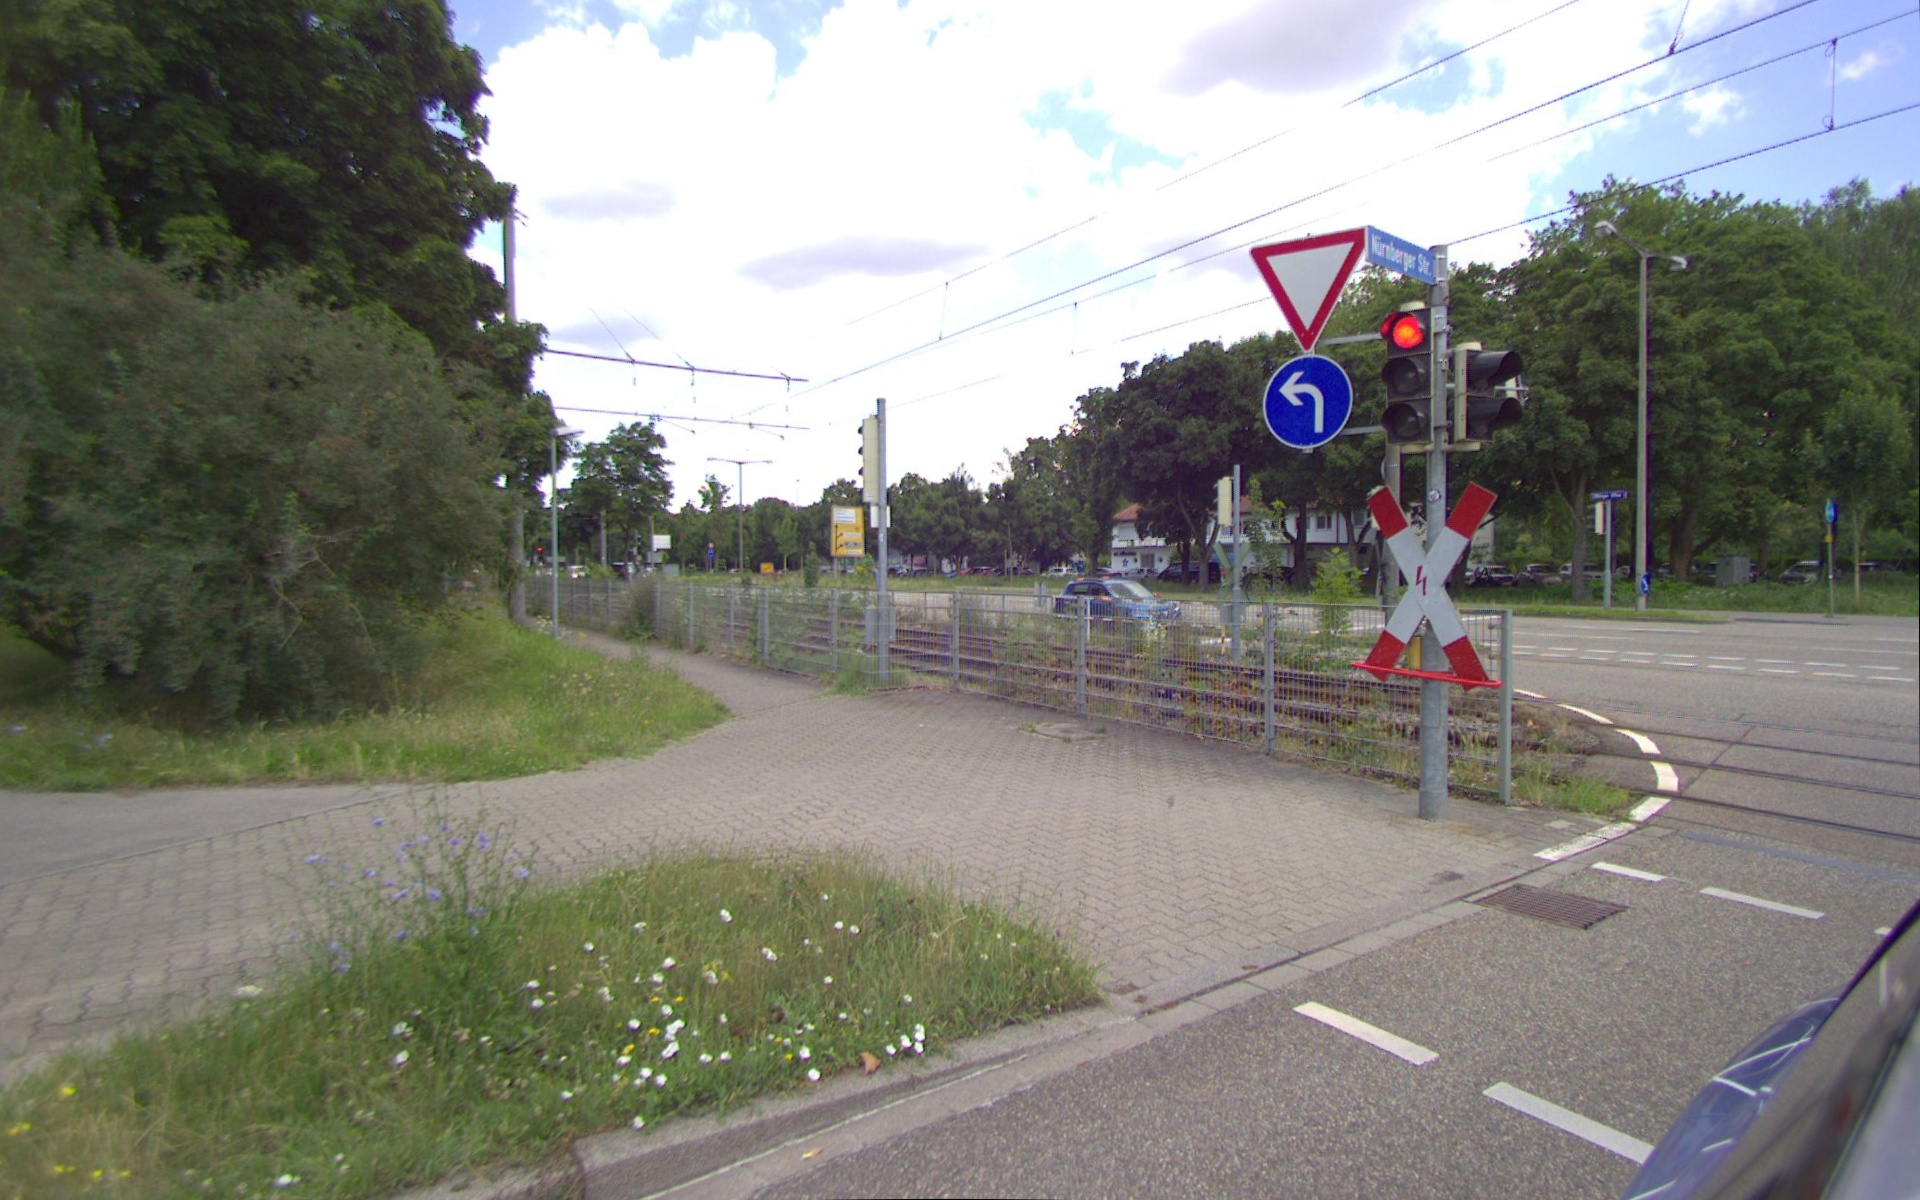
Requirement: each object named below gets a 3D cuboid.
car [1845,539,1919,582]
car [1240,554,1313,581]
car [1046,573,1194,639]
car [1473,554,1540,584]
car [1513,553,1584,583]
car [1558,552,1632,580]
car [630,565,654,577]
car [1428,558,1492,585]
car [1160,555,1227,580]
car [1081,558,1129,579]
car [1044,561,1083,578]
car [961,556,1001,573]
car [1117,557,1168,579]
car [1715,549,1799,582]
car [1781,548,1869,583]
[{"bbox_3d":[45.260,-1.920,49.147,3.917,2.038,2.004,-1,2,-24],"label":"car"},{"bbox_3d":[20.967,-2.140,67.173,1.782,1.677,4.357,-4,3,-41],"label":"car"},{"bbox_3d":[3.802,0.078,24.632,1.573,1.482,3.707,-1,2,-30],"label":"car"},{"bbox_3d":[31.401,-1.784,58.288,1.965,1.607,4.019,0,2,5],"label":"car"},{"bbox_3d":[33.789,-1.795,58.219,1.965,1.607,4.017,0,0,5],"label":"car"},{"bbox_3d":[36.225,-1.943,57.853,1.965,1.564,4.019,0,2,5],"label":"car"},{"bbox_3d":[-40.443,-3.672,128.553,1.771,1.449,4.499,-2,2,-33],"label":"car"},{"bbox_3d":[28.820,-1.673,58.424,1.965,1.502,4.019,0,2,5],"label":"car"},{"bbox_3d":[16.764,-2.343,72.789,1.851,1.732,4.935,-1,2,-30],"label":"car"},{"bbox_3d":[11.627,-2.534,81.409,1.729,1.607,4.027,-1,2,-30],"label":"car"},{"bbox_3d":[8.753,-2.596,86.033,1.594,1.348,3.480,-1,2,-30],"label":"car"},{"bbox_3d":[1.992,-3.379,97.229,1.960,1.607,4.027,-1,2,-30],"label":"car"},{"bbox_3d":[14.012,-2.449,77.855,1.885,1.607,3.670,-1,2,-30],"label":"car"},{"bbox_3d":[42.893,-1.868,54.468,4.042,1.749,1.823,-1,2,-23],"label":"car"},{"bbox_3d":[44.580,-1.799,52.185,4.042,1.730,1.823,-1,2,-23],"label":"car"}]
